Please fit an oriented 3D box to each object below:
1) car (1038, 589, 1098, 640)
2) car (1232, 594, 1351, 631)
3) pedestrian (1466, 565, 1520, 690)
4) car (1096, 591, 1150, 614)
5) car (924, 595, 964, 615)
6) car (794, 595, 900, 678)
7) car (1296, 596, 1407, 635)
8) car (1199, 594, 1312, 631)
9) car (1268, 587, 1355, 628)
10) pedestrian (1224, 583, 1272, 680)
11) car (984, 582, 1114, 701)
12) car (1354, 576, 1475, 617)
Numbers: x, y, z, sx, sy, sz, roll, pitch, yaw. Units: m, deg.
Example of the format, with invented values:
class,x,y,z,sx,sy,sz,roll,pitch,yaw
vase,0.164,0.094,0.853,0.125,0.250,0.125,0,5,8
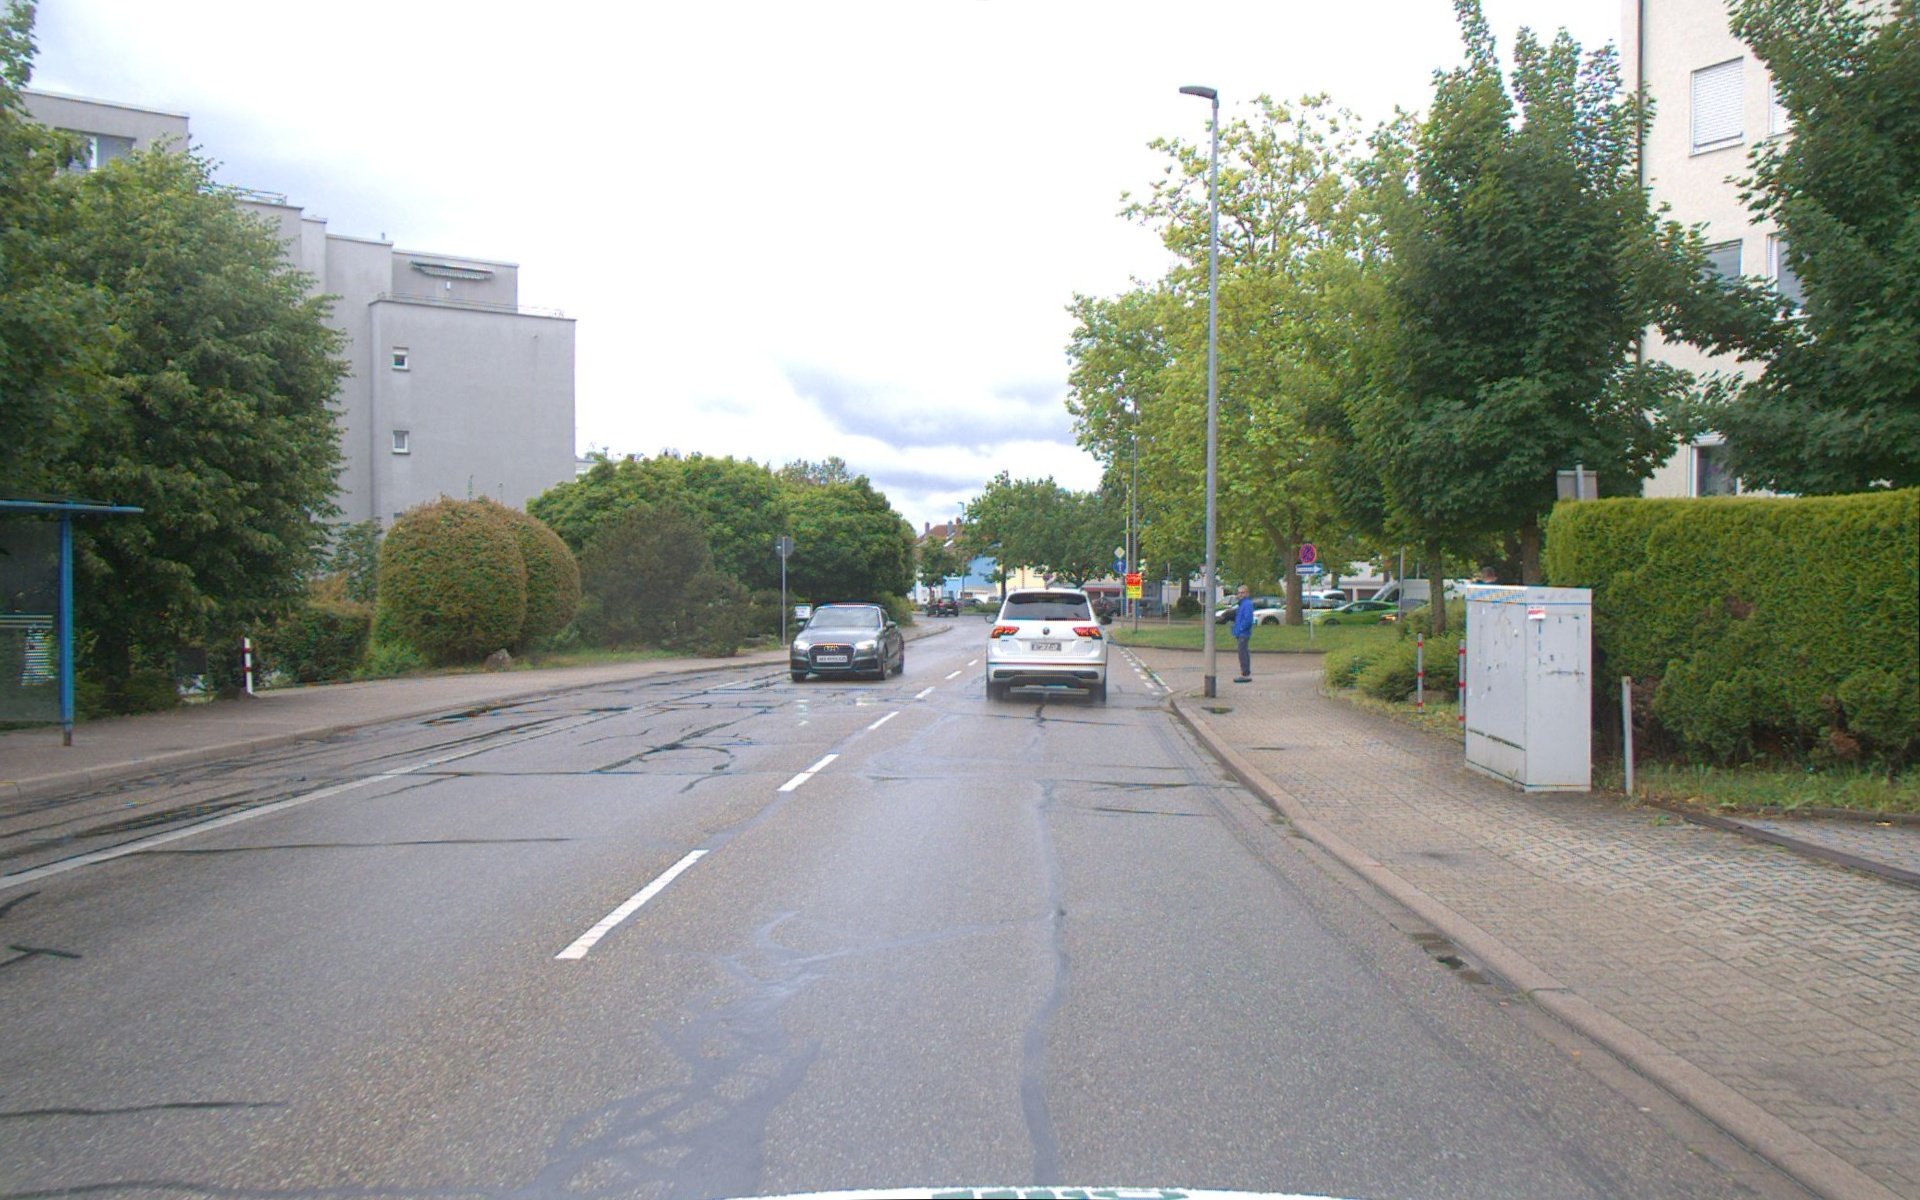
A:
class,x,y,z,sx,sy,sz,roll,pitch,yaw
car,3.411,0.443,52.772,1.732,1.578,4.001,0,0,1
car,13.559,0.501,67.759,4.480,1.468,1.764,-1,0,-2
pedestrian,7.867,0.398,24.441,0.600,1.803,0.671,0,0,3
car,12.825,0.171,130.126,3.949,1.751,1.903,0,0,-33
car,-1.223,0.387,127.931,1.963,1.445,3.979,0,0,-19
car,-2.097,0.649,31.657,1.639,1.468,4.001,0,0,2
car,15.341,0.595,64.915,3.928,1.468,1.764,-1,0,-2
car,12.551,0.523,70.387,4.480,1.468,1.764,-1,0,-2
car,16.950,0.359,79.851,1.969,1.914,4.177,0,0,-26
pedestrian,5.110,0.549,29.386,0.579,1.695,0.773,0,0,-12
car,1.416,0.587,25.597,1.826,1.679,4.002,-1,0,4
car,23.566,-0.201,85.881,5.709,2.049,1.997,-1,0,-7
